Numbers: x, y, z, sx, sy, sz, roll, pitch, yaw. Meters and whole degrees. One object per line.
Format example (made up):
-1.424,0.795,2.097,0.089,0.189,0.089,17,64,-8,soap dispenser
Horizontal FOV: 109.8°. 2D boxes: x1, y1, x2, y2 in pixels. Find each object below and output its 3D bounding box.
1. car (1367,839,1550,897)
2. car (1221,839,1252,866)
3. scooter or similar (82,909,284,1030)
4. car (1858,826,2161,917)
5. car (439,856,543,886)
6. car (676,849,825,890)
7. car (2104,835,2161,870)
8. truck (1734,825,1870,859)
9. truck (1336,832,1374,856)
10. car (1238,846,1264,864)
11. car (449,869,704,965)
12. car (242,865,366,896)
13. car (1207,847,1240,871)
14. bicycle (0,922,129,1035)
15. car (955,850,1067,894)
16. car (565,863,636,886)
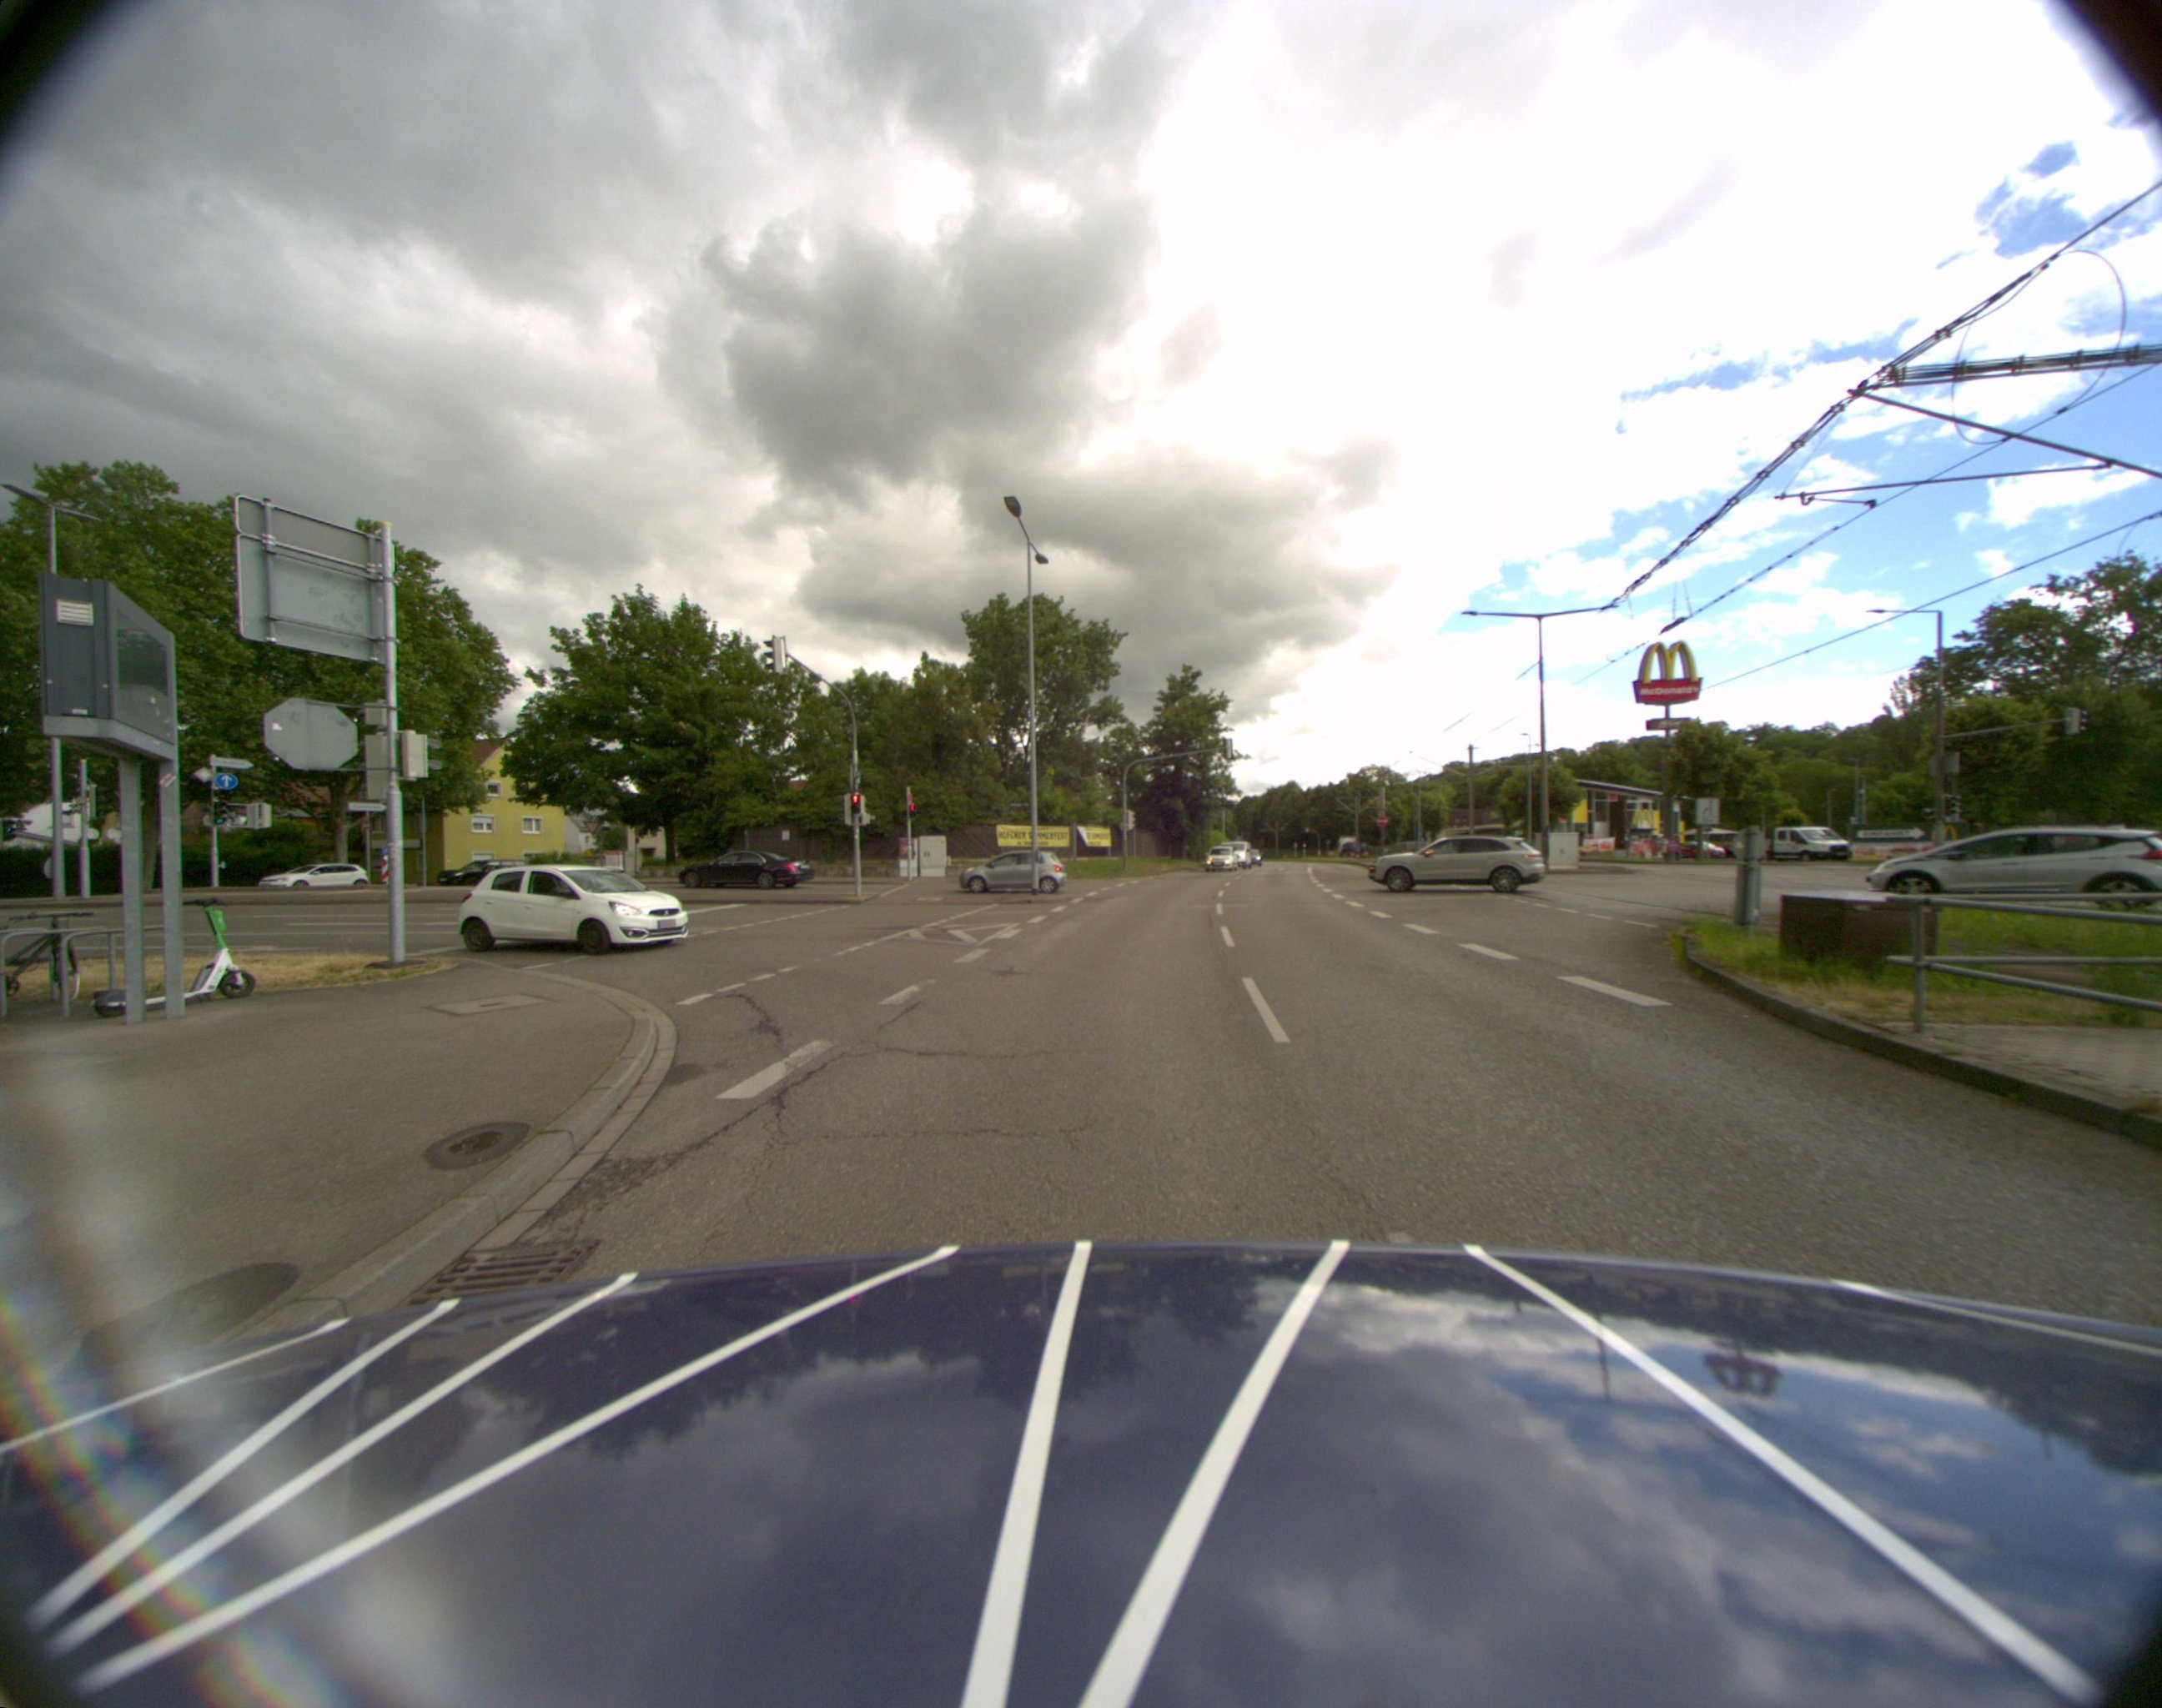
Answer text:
11.467,0.393,23.219,4.841,1.633,1.680,-1,1,32,car
10.913,-0.143,53.270,1.806,1.814,4.004,-1,1,16,car
-9.676,1.206,8.254,0.654,1.105,1.232,-1,1,6,scooter or similar
19.157,0.297,15.623,1.753,1.631,4.114,-1,1,-29,car
-35.137,0.991,45.427,1.808,1.642,4.598,-1,0,19,car
-12.662,0.583,29.246,4.988,1.442,1.832,-1,1,8,car
44.692,-0.089,31.679,3.646,1.424,1.792,-1,1,-26,car
43.324,-0.737,45.955,2.598,1.894,6.199,0,1,4,truck
43.095,-1.570,119.623,3.434,3.539,8.701,0,1,5,truck
15.523,0.070,69.280,1.996,1.527,4.004,1,1,16,car
-8.785,1.042,13.325,3.598,1.440,1.676,-1,2,14,car
-37.671,1.245,36.957,1.809,1.313,3.806,-1,0,12,car
8.878,0.273,47.137,1.718,1.410,4.004,1,1,15,car
-11.275,1.317,7.909,0.608,1.039,1.700,-1,1,-3,bicycle
-2.426,0.618,27.024,3.785,1.479,1.676,0,2,2,car
-33.039,1.389,52.339,1.659,1.390,3.885,1,1,23,car
